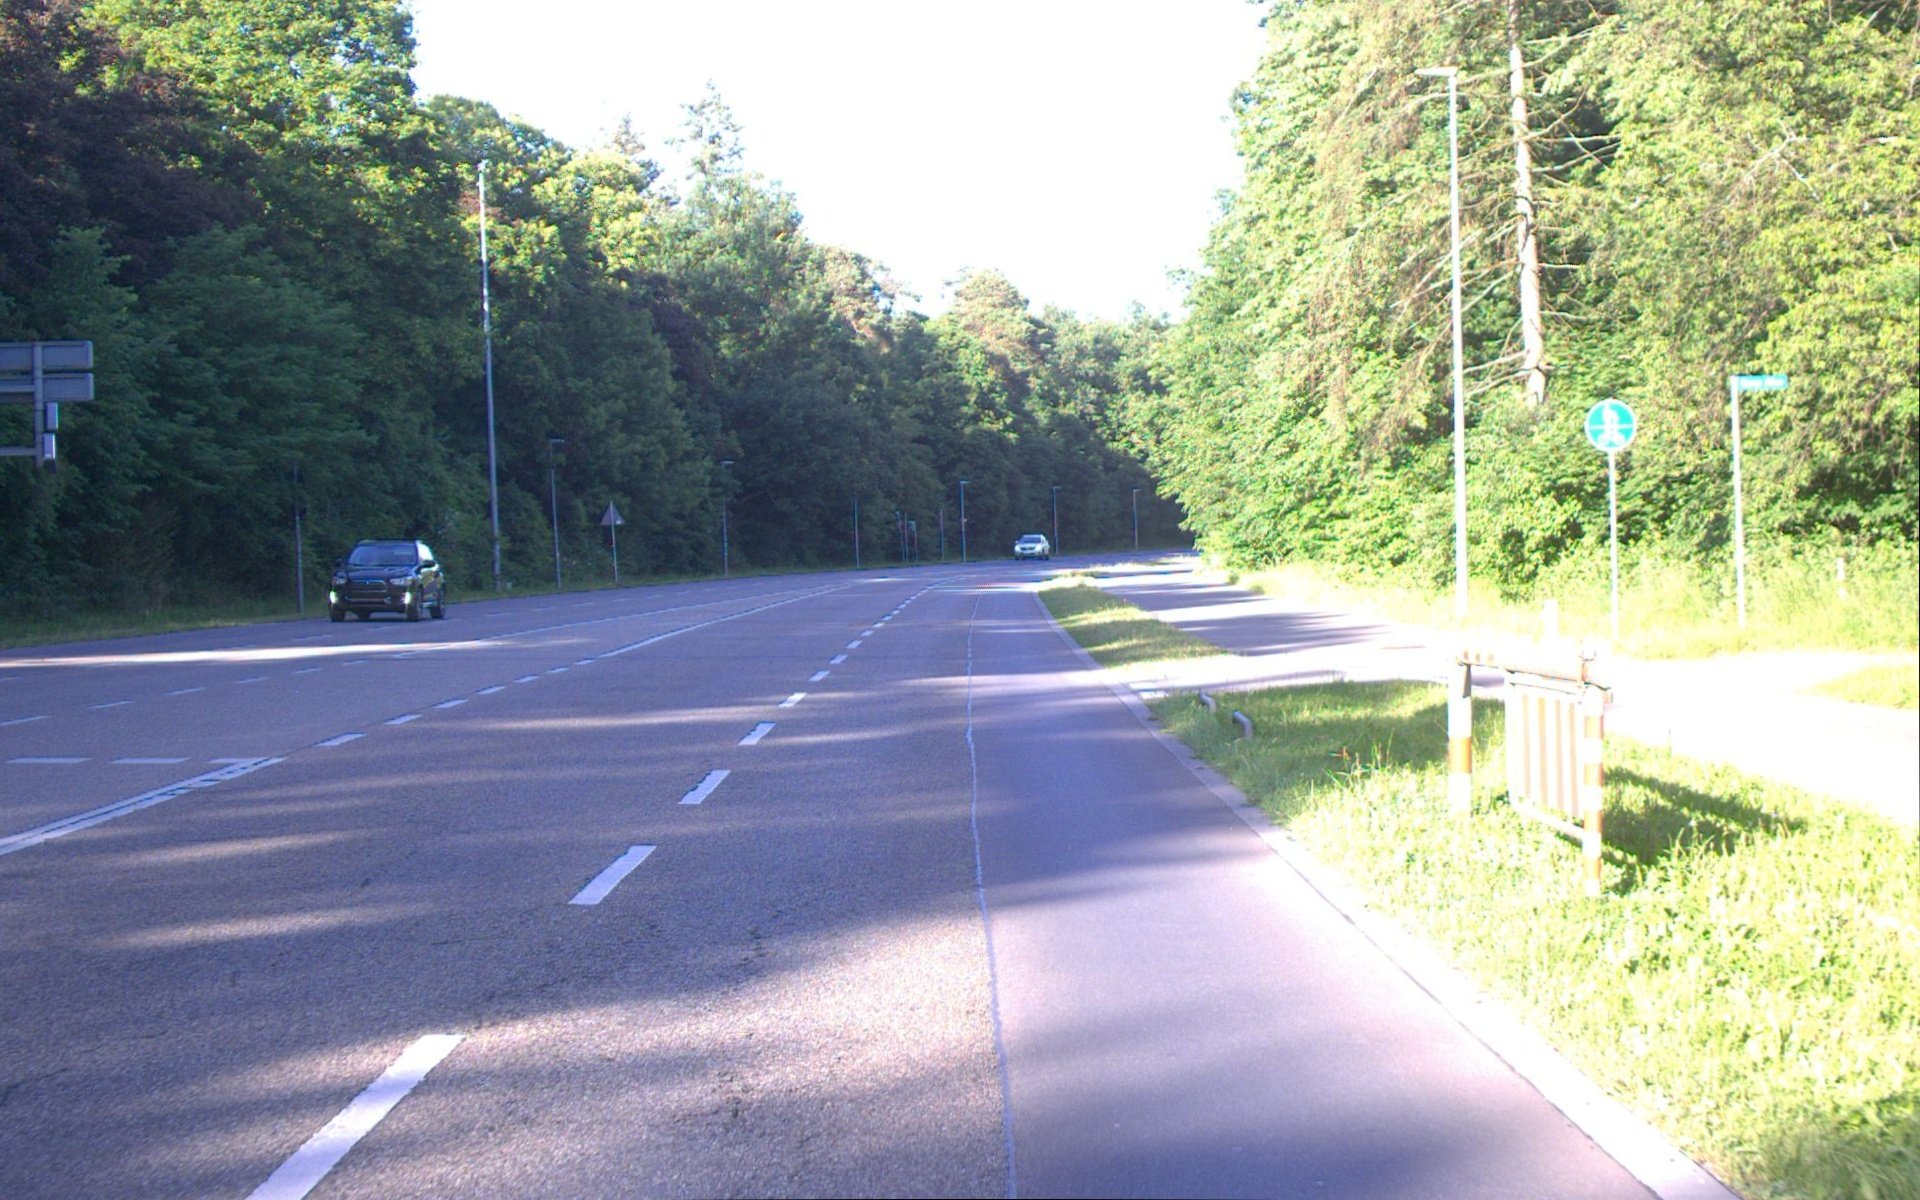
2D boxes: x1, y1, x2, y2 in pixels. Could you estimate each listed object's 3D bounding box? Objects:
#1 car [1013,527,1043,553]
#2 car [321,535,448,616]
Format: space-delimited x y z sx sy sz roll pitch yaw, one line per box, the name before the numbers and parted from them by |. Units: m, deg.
car | 4.444 -3.948 225.563 1.908 1.658 4.734 -1 1 1
car | -11.697 -0.519 70.120 1.825 1.584 4.351 0 1 1
